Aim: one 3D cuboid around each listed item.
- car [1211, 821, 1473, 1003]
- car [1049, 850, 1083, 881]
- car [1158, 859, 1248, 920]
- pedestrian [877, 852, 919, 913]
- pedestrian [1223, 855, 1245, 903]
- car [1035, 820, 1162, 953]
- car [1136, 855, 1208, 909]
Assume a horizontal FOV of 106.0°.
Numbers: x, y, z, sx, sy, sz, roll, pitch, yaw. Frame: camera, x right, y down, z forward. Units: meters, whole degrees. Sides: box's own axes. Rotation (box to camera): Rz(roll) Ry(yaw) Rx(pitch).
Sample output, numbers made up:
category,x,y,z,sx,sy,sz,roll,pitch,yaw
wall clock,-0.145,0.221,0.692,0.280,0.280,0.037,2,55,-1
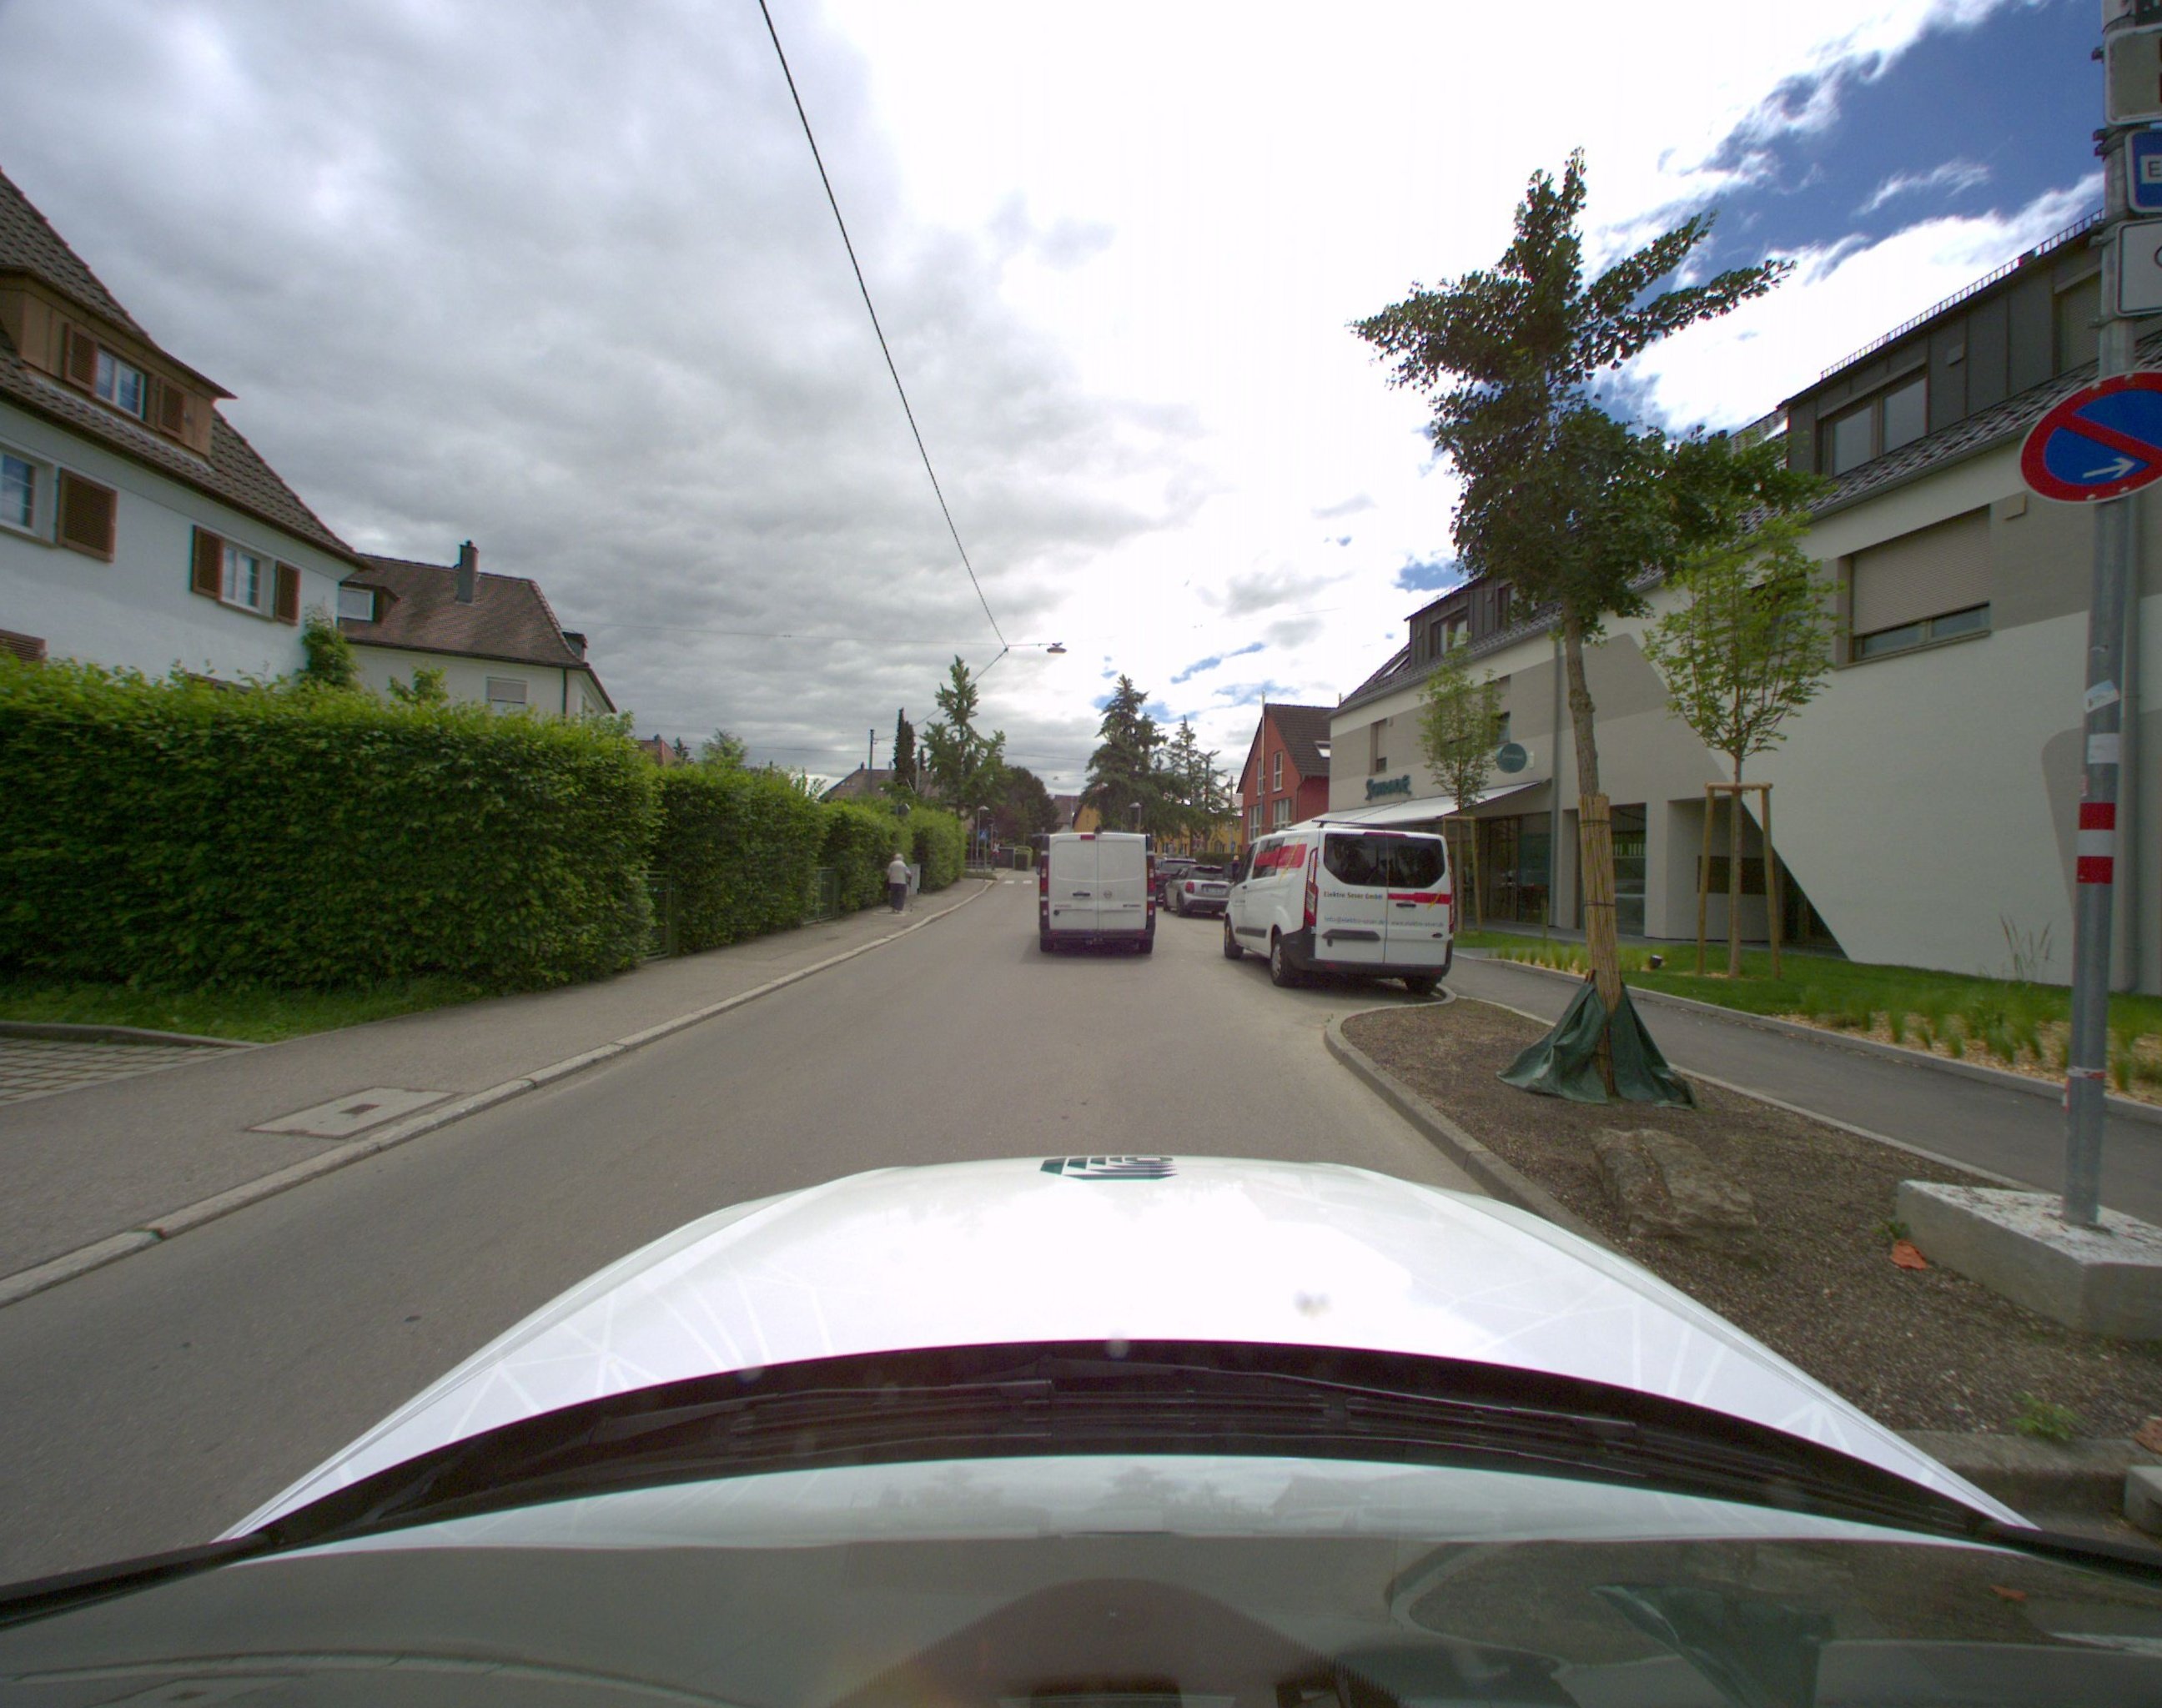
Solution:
category,x,y,z,sx,sy,sz,roll,pitch,yaw
car,3.324,0.701,11.548,1.953,1.916,4.898,3,-1,-2
car,-0.905,0.717,50.025,1.988,1.848,3.998,1,-1,-1
car,3.388,0.964,23.233,1.738,1.495,3.650,4,-1,-4
pedestrian,-4.640,0.727,20.637,0.879,1.485,0.452,4,-2,-21
pedestrian,5.215,0.844,27.806,0.588,1.607,0.529,4,-2,0
car,0.235,0.532,14.668,1.910,2.003,4.435,1,-1,-1
car,3.049,0.924,28.140,1.699,1.614,4.253,4,-1,-4
